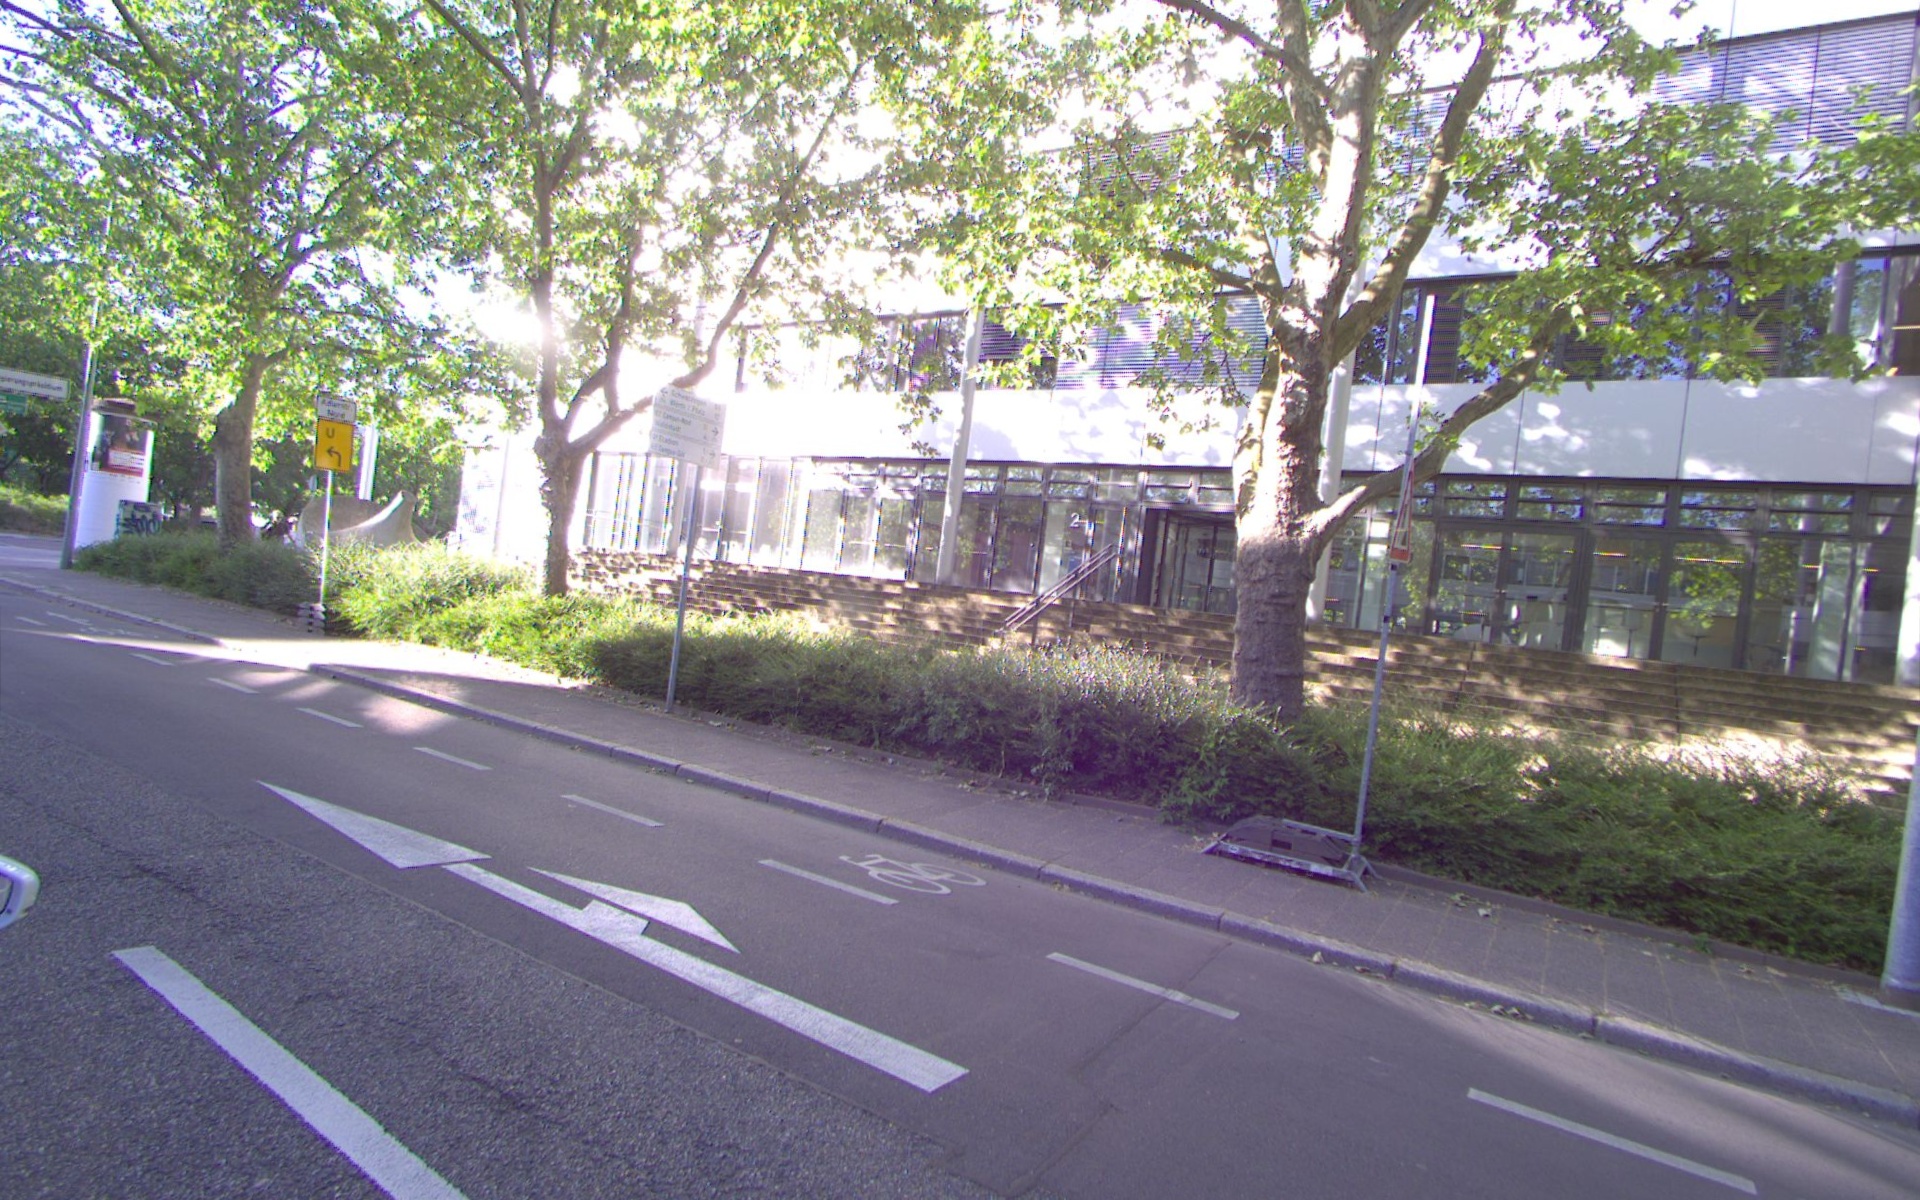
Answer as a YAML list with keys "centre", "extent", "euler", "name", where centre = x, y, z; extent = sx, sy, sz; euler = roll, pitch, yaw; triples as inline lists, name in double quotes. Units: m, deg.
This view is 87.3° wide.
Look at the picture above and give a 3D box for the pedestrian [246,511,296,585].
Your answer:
- centre: [-18.039, -1.357, 26.355]
  extent: [0.719, 1.799, 0.735]
  euler: [6, -1, 40]
  name: "pedestrian"
